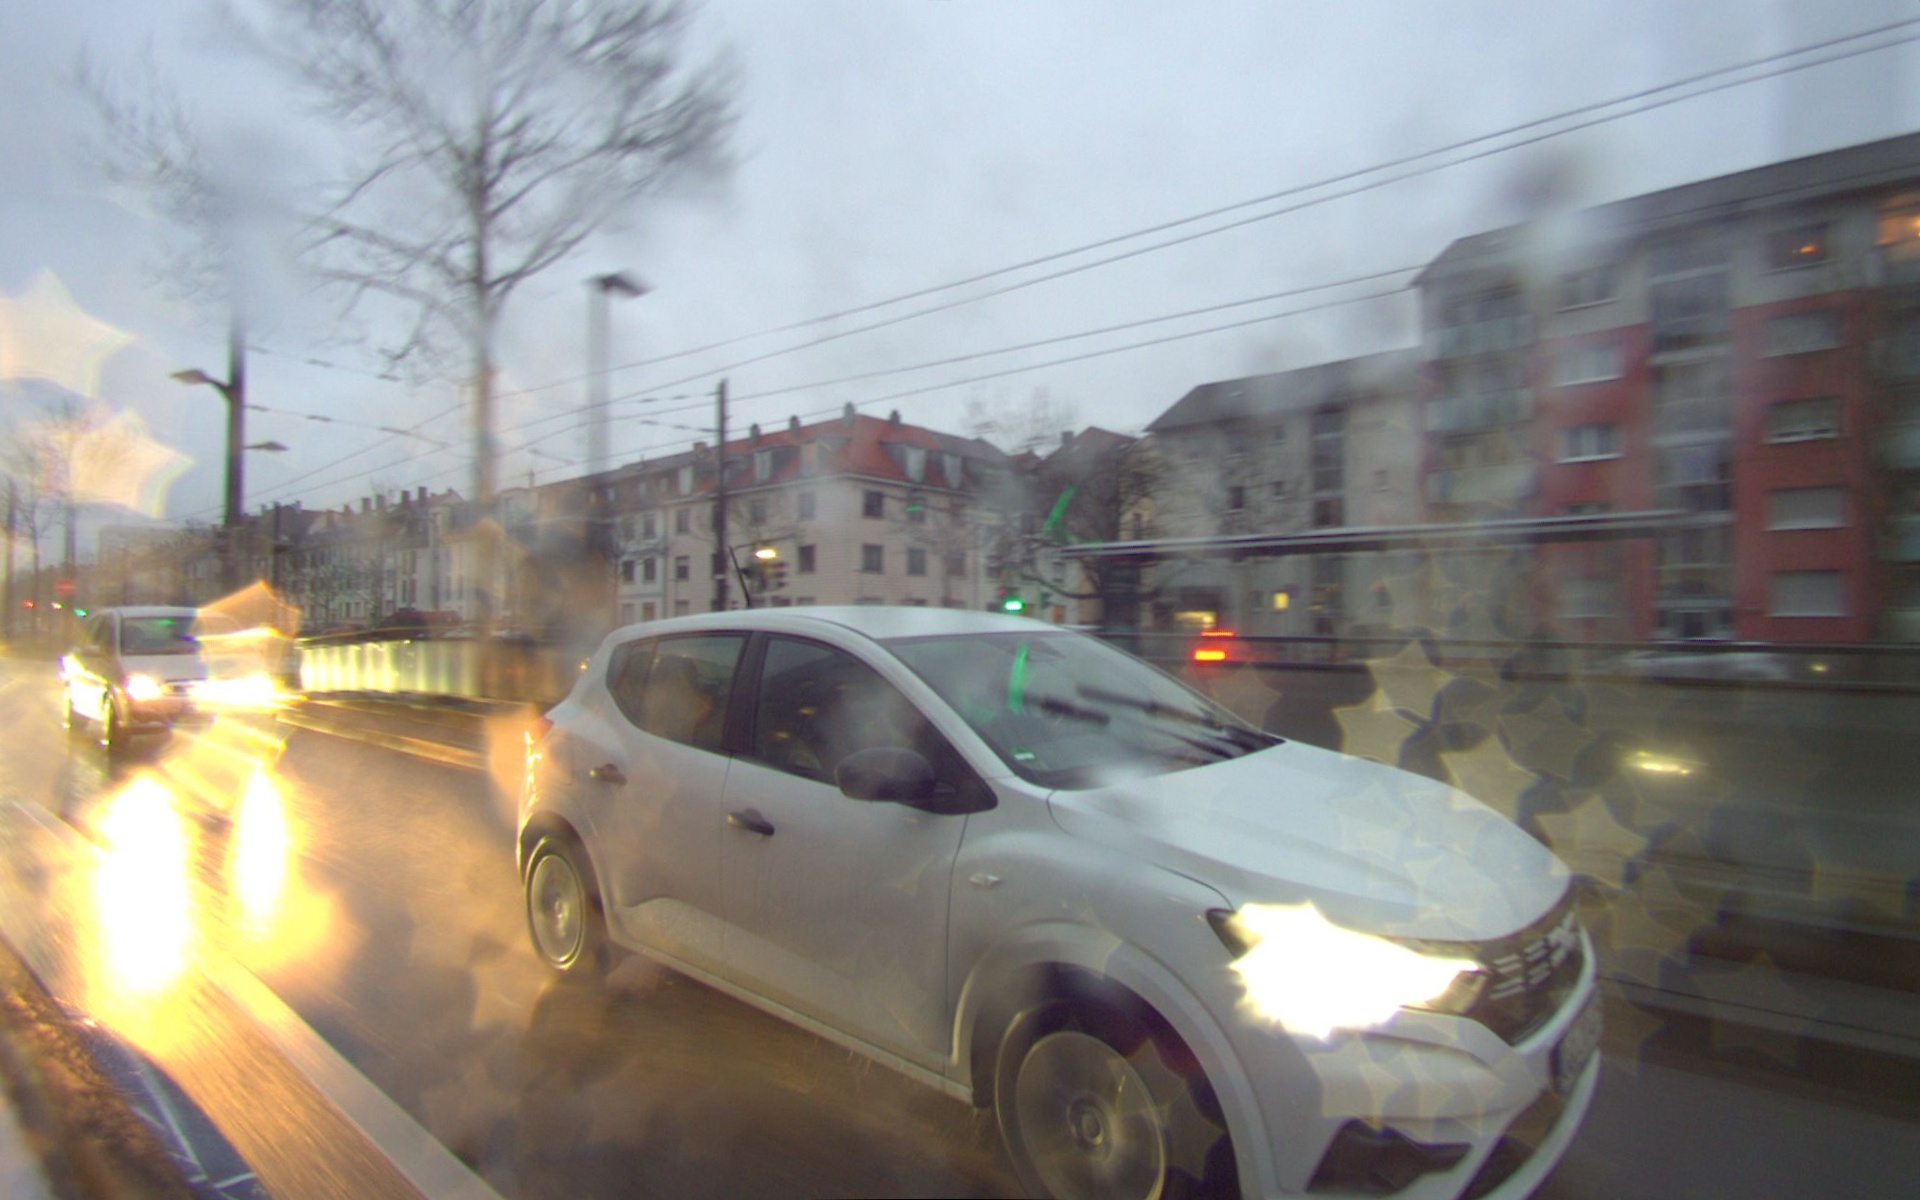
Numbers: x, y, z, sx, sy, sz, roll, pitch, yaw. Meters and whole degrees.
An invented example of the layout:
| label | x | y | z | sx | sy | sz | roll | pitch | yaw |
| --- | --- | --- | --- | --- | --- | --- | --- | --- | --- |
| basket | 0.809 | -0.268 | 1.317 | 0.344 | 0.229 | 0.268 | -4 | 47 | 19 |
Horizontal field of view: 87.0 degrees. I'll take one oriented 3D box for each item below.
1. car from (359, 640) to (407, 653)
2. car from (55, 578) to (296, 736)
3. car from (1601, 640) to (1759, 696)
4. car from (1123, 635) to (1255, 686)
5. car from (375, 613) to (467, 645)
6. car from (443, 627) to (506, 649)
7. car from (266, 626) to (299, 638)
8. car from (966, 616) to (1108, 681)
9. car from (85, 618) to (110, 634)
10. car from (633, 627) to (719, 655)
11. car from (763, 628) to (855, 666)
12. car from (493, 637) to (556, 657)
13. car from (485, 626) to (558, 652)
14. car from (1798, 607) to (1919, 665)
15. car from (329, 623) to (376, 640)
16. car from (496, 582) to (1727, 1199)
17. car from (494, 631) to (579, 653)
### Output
| label | x | y | z | sx | sy | sz | roll | pitch | yaw |
| --- | --- | --- | --- | --- | --- | --- | --- | --- | --- |
| car | -45.464 | 3.665 | 79.812 | 3.057 | 1.014 | 1.189 | 0 | -2 | -14 |
| car | -10.139 | 0.616 | 12.974 | 1.993 | 1.690 | 4.003 | 0 | 0 | -45 |
| car | 16.876 | 1.554 | 23.773 | 1.247 | 1.109 | 2.856 | 0 | 0 | -45 |
| car | 4.797 | 1.241 | 21.312 | 2.491 | 0.945 | 1.132 | 0 | -1 | 42 |
| car | -40.269 | 2.130 | 75.785 | 5.810 | 2.271 | 1.827 | 0 | 0 | -15 |
| car | -31.915 | 2.486 | 66.591 | 3.547 | 1.395 | 1.317 | 0 | -2 | -17 |
| car | -68.713 | 3.231 | 102.630 | 1.255 | 1.114 | 2.591 | 0 | 0 | 44 |
| car | 2.071 | 1.267 | 27.826 | 3.747 | 1.651 | 1.507 | 0 | -1 | 41 |
| car | -118.650 | 3.574 | 139.183 | 3.996 | 2.029 | 1.974 | 0 | 0 | 40 |
| car | -13.770 | 1.971 | 49.156 | 3.932 | 1.265 | 1.448 | 0 | 0 | -15 |
| car | -6.154 | 1.853 | 40.992 | 3.998 | 1.378 | 1.500 | 0 | 0 | 41 |
| car | -25.620 | 2.770 | 59.605 | 3.259 | 1.140 | 1.317 | 1 | -2 | -14 |
| car | -26.845 | 2.377 | 62.051 | 3.946 | 1.516 | 1.317 | 0 | 0 | -13 |
| car | 25.137 | 0.946 | 27.525 | 3.503 | 1.507 | 1.691 | 0 | 0 | 44 |
| car | -50.793 | 2.601 | 84.681 | 3.151 | 1.326 | 1.556 | 0 | 0 | -18 |
| car | 0.076 | 0.713 | 3.522 | 4.000 | 1.477 | 1.689 | 0 | 0 | 43 |
| car | -23.929 | 2.379 | 57.301 | 4.331 | 1.140 | 1.251 | 1 | 0 | -14 |
